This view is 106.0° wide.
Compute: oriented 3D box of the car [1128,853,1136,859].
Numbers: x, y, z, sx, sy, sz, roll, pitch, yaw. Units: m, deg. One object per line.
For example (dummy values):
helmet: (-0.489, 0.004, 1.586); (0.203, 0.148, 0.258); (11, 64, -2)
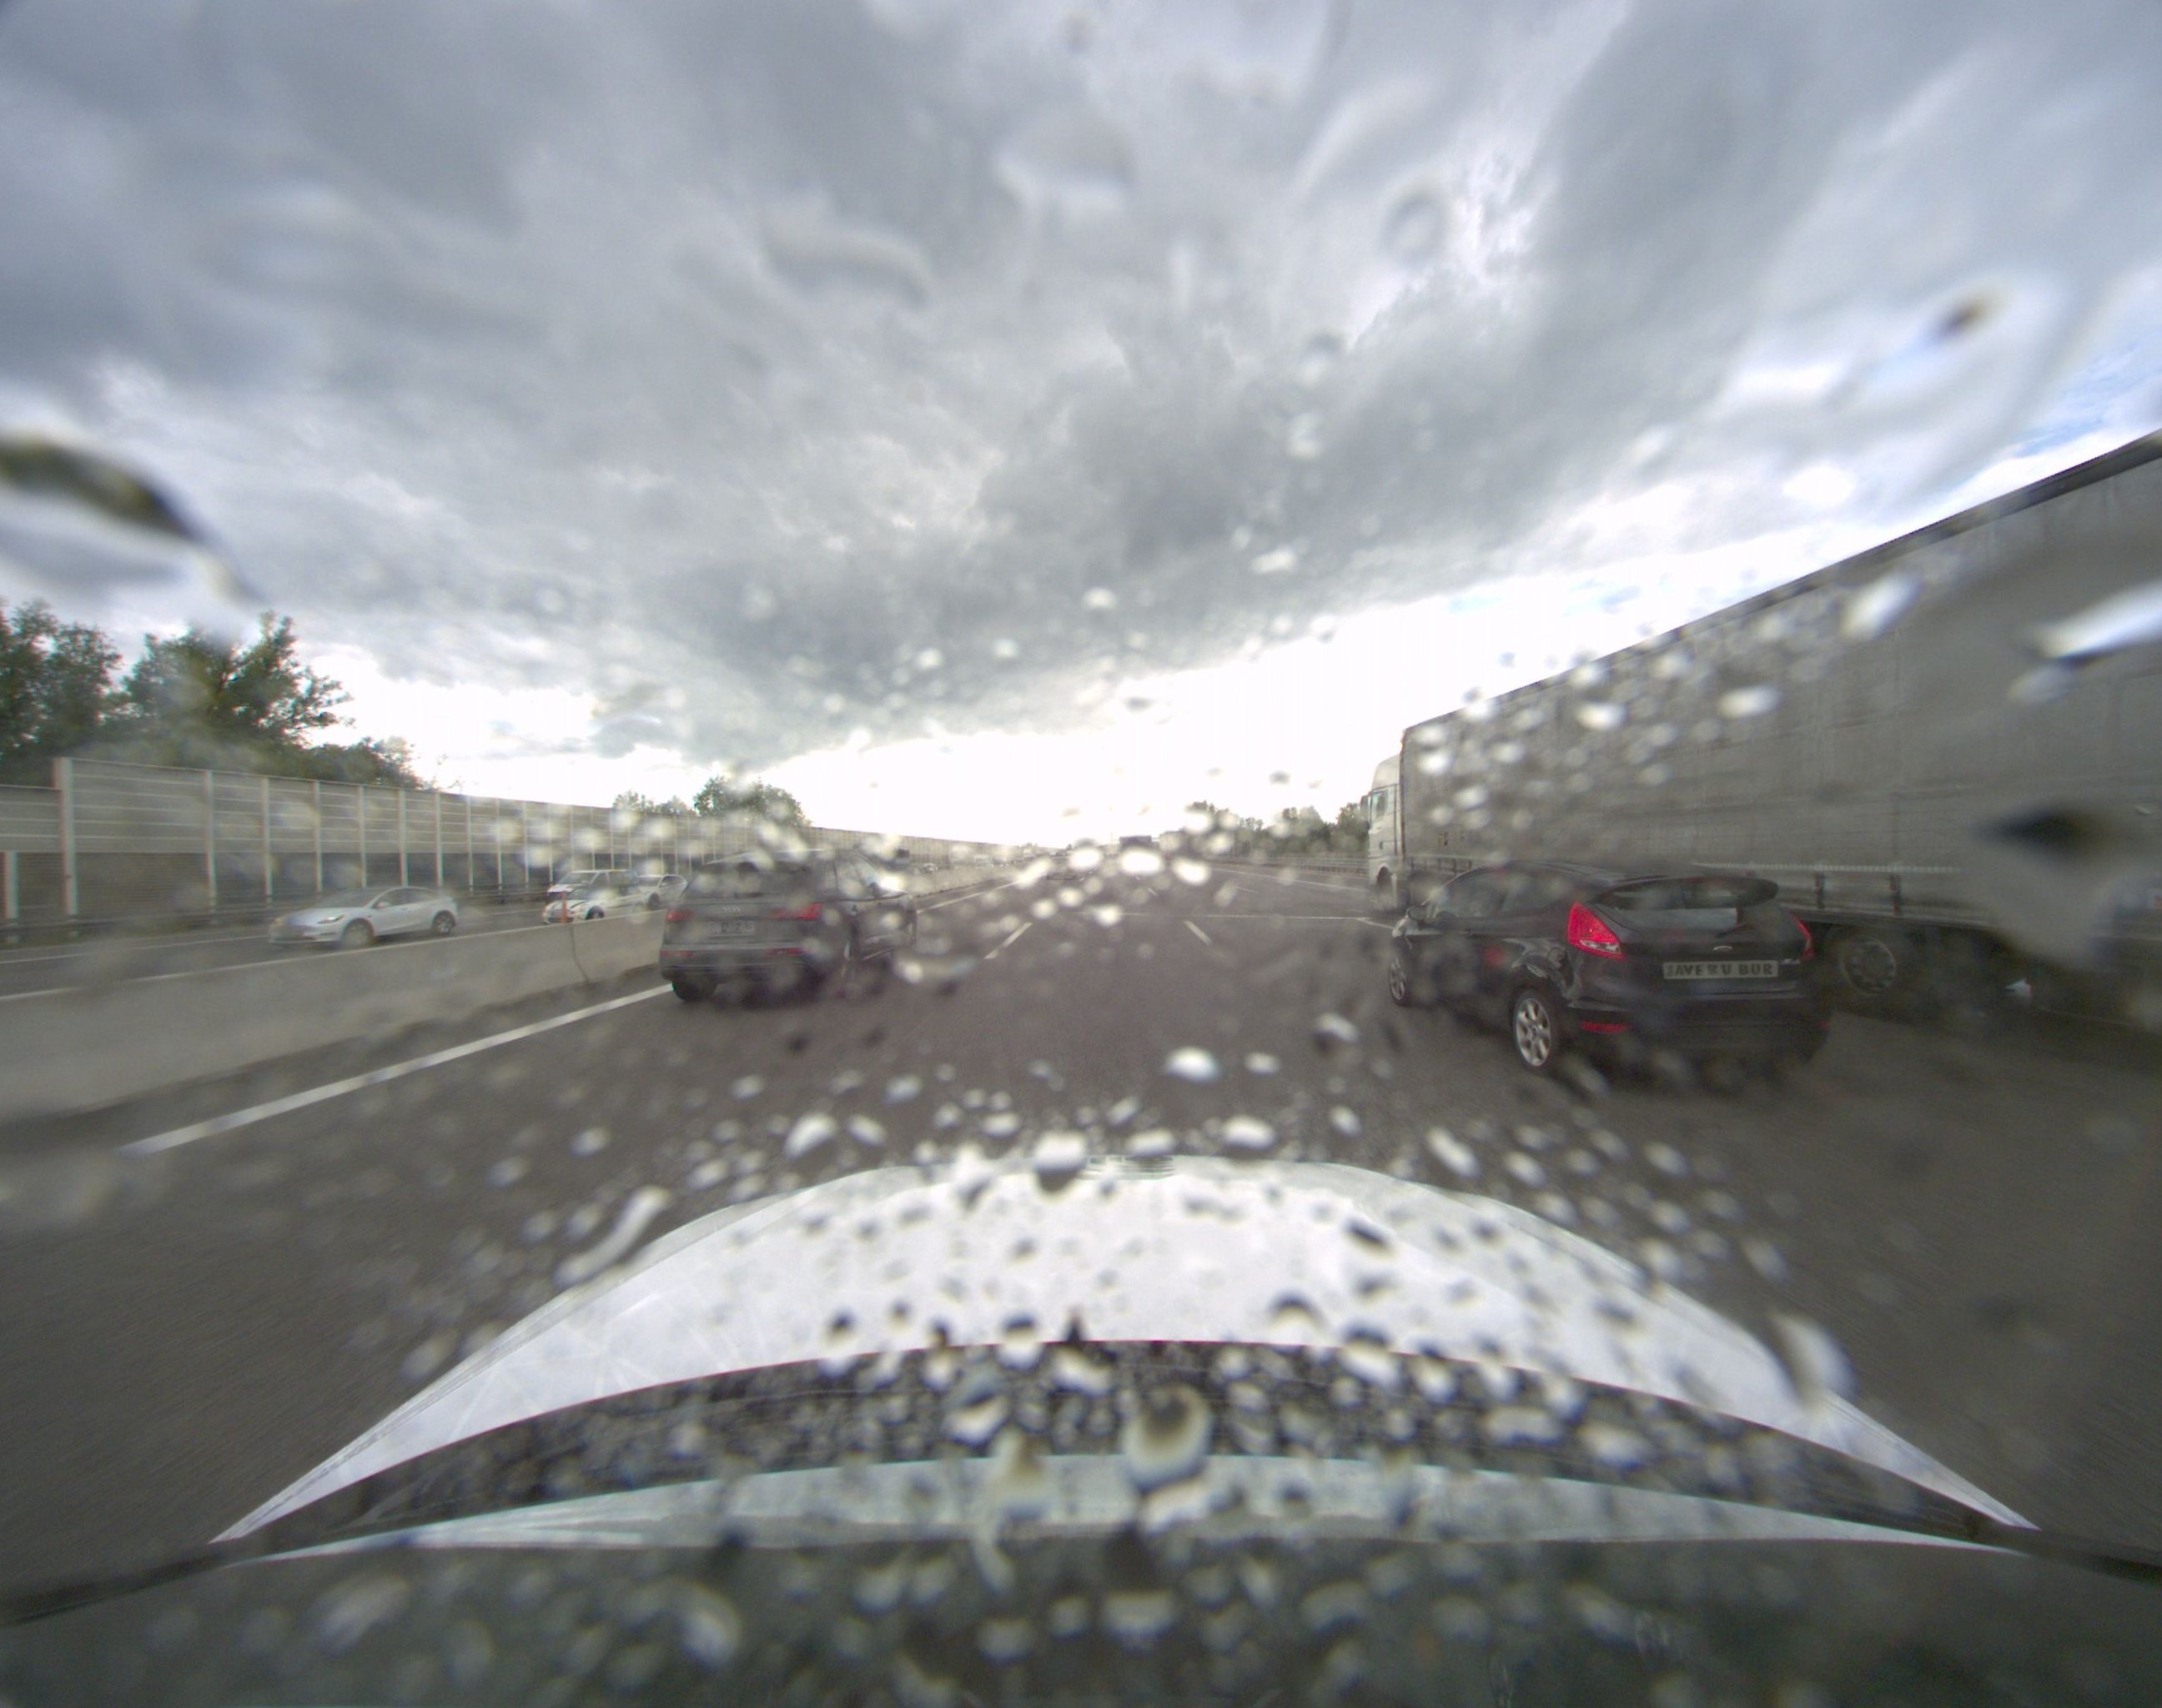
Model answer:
car: (12.466, 0.450, 198.580); (1.829, 1.441, 4.056); (-1, 1, 1)

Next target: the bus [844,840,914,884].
bus: (-18.894, 0.654, 77.167); (3.080, 3.758, 11.889); (-2, 0, 3)

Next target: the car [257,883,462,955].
car: (-20.660, 1.786, 23.650); (1.742, 1.630, 4.644); (-2, 0, 0)

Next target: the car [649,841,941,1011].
car: (-3.391, 0.725, 10.975); (1.901, 1.691, 5.171); (-2, 0, 2)

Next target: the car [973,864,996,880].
car: (-10.482, 1.943, 88.856); (1.740, 1.525, 4.180); (-2, 0, 3)

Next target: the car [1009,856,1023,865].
car: (-11.829, 1.135, 149.278); (1.916, 1.599, 5.099); (-2, 0, 3)

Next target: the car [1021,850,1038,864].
car: (-8.458, 0.486, 135.058); (2.151, 2.071, 6.018); (-2, 0, 3)

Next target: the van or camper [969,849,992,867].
van or camper: (-16.191, 0.632, 131.355); (2.335, 2.641, 7.154); (-2, 0, 3)

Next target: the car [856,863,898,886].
car: (-15.511, 1.526, 62.236); (1.740, 1.525, 4.930); (-2, 0, 3)

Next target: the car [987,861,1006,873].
car: (-12.903, 1.999, 124.426); (2.071, 1.659, 4.805); (-2, 0, 3)

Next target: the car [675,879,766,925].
car: (-13.032, 1.684, 29.656); (1.565, 1.394, 3.578); (-2, 0, 3)

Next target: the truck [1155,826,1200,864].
truck: (11.520, -1.084, 98.653); (4.165, 4.288, 12.614); (-1, 0, 1)

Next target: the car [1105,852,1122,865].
car: (3.866, 0.460, 96.449); (1.767, 1.441, 4.054); (-1, 1, -1)

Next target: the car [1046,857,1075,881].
car: (-1.249, 0.943, 52.549); (1.755, 1.369, 5.059); (-1, 1, 0)

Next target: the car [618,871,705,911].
car: (-19.826, 1.700, 38.685); (1.740, 1.611, 4.180); (-2, 0, 3)

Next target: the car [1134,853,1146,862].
car: (10.105, 0.513, 139.172); (1.829, 1.441, 4.056); (-1, 1, 1)

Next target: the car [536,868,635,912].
car: (-24.141, 1.700, 39.928); (1.741, 1.893, 4.784); (-2, 0, 1)

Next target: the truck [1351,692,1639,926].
truck: (8.332, -0.815, 17.522); (2.950, 4.019, 6.591); (-1, 0, 2)

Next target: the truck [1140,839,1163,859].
truck: (15.081, -1.140, 175.391); (4.228, 4.176, 11.992); (-1, 0, 1)

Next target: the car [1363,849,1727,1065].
car: (3.710, 0.692, 7.137); (1.441, 1.441, 3.165); (-1, 0, 1)

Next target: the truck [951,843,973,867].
truck: (-19.638, 0.124, 134.167); (2.566, 3.935, 5.180); (-1, 0, 3)

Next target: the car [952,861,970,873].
car: (-16.982, 1.850, 115.421); (1.740, 1.525, 4.180); (-2, 0, 3)

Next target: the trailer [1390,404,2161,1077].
trailer: (8.129, -0.765, 10.947); (2.950, 4.019, 14.124); (-1, 1, 2)

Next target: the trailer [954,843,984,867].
trailer: (-19.290, 0.079, 141.416); (2.552, 3.935, 13.826); (-1, 0, 3)

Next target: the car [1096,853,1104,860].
car: (4.110, 0.445, 177.956); (1.767, 1.441, 3.873); (-1, 1, 0)

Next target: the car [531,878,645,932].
car: (-17.056, 1.705, 28.381); (1.614, 1.580, 3.621); (-2, 0, 3)
